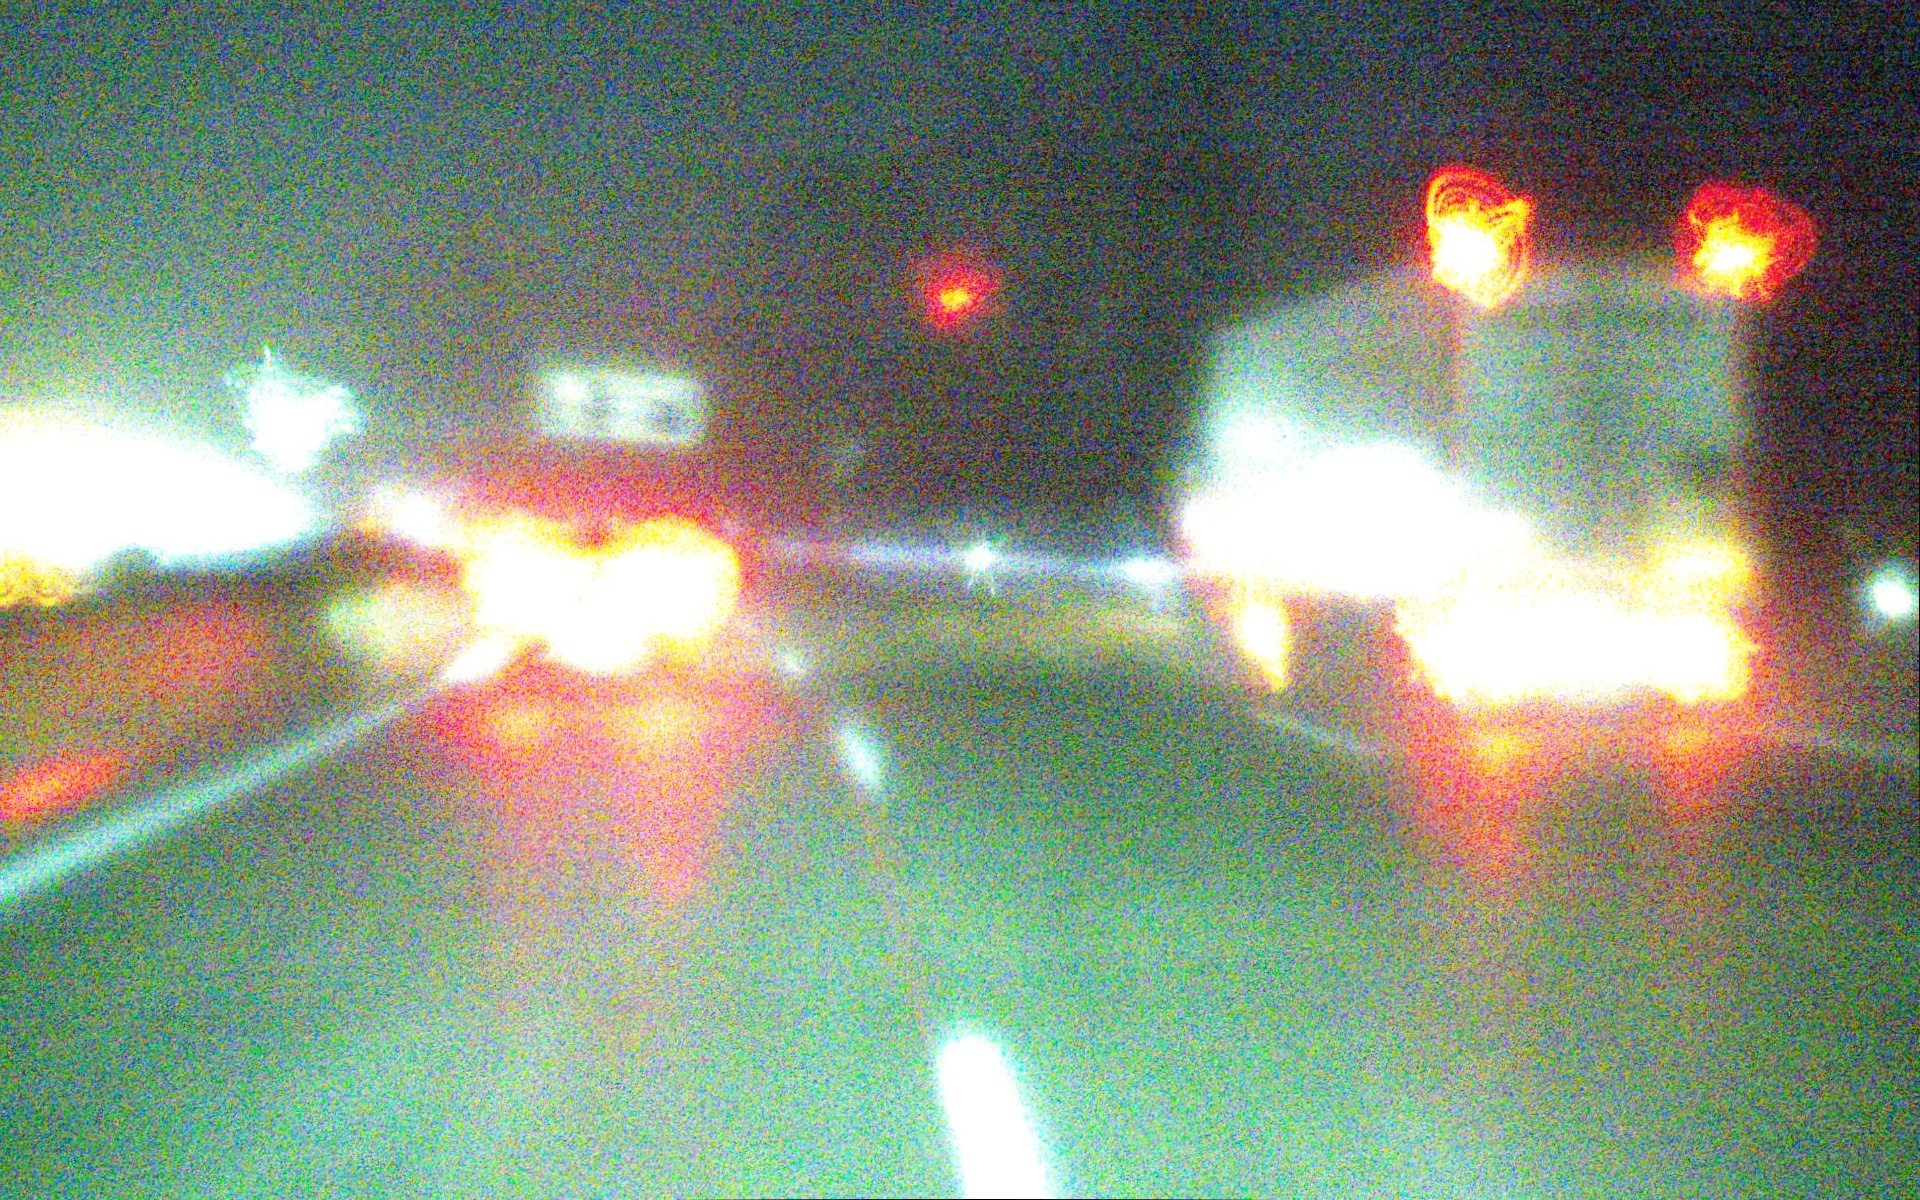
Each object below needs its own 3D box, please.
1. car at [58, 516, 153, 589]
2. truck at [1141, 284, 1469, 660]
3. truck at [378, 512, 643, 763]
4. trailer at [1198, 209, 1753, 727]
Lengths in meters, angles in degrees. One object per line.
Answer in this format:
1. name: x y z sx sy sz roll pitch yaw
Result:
1. car: -24.772 -1.390 99.745 1.993 1.846 4.001 5 2 -6
2. truck: 4.079 -1.503 41.794 2.710 4.227 5.294 1 1 -8
3. truck: -4.498 0.268 35.381 2.145 2.070 6.605 5 2 -4
4. trailer: 4.737 -1.235 35.119 2.739 4.233 13.374 -1 1 -4
